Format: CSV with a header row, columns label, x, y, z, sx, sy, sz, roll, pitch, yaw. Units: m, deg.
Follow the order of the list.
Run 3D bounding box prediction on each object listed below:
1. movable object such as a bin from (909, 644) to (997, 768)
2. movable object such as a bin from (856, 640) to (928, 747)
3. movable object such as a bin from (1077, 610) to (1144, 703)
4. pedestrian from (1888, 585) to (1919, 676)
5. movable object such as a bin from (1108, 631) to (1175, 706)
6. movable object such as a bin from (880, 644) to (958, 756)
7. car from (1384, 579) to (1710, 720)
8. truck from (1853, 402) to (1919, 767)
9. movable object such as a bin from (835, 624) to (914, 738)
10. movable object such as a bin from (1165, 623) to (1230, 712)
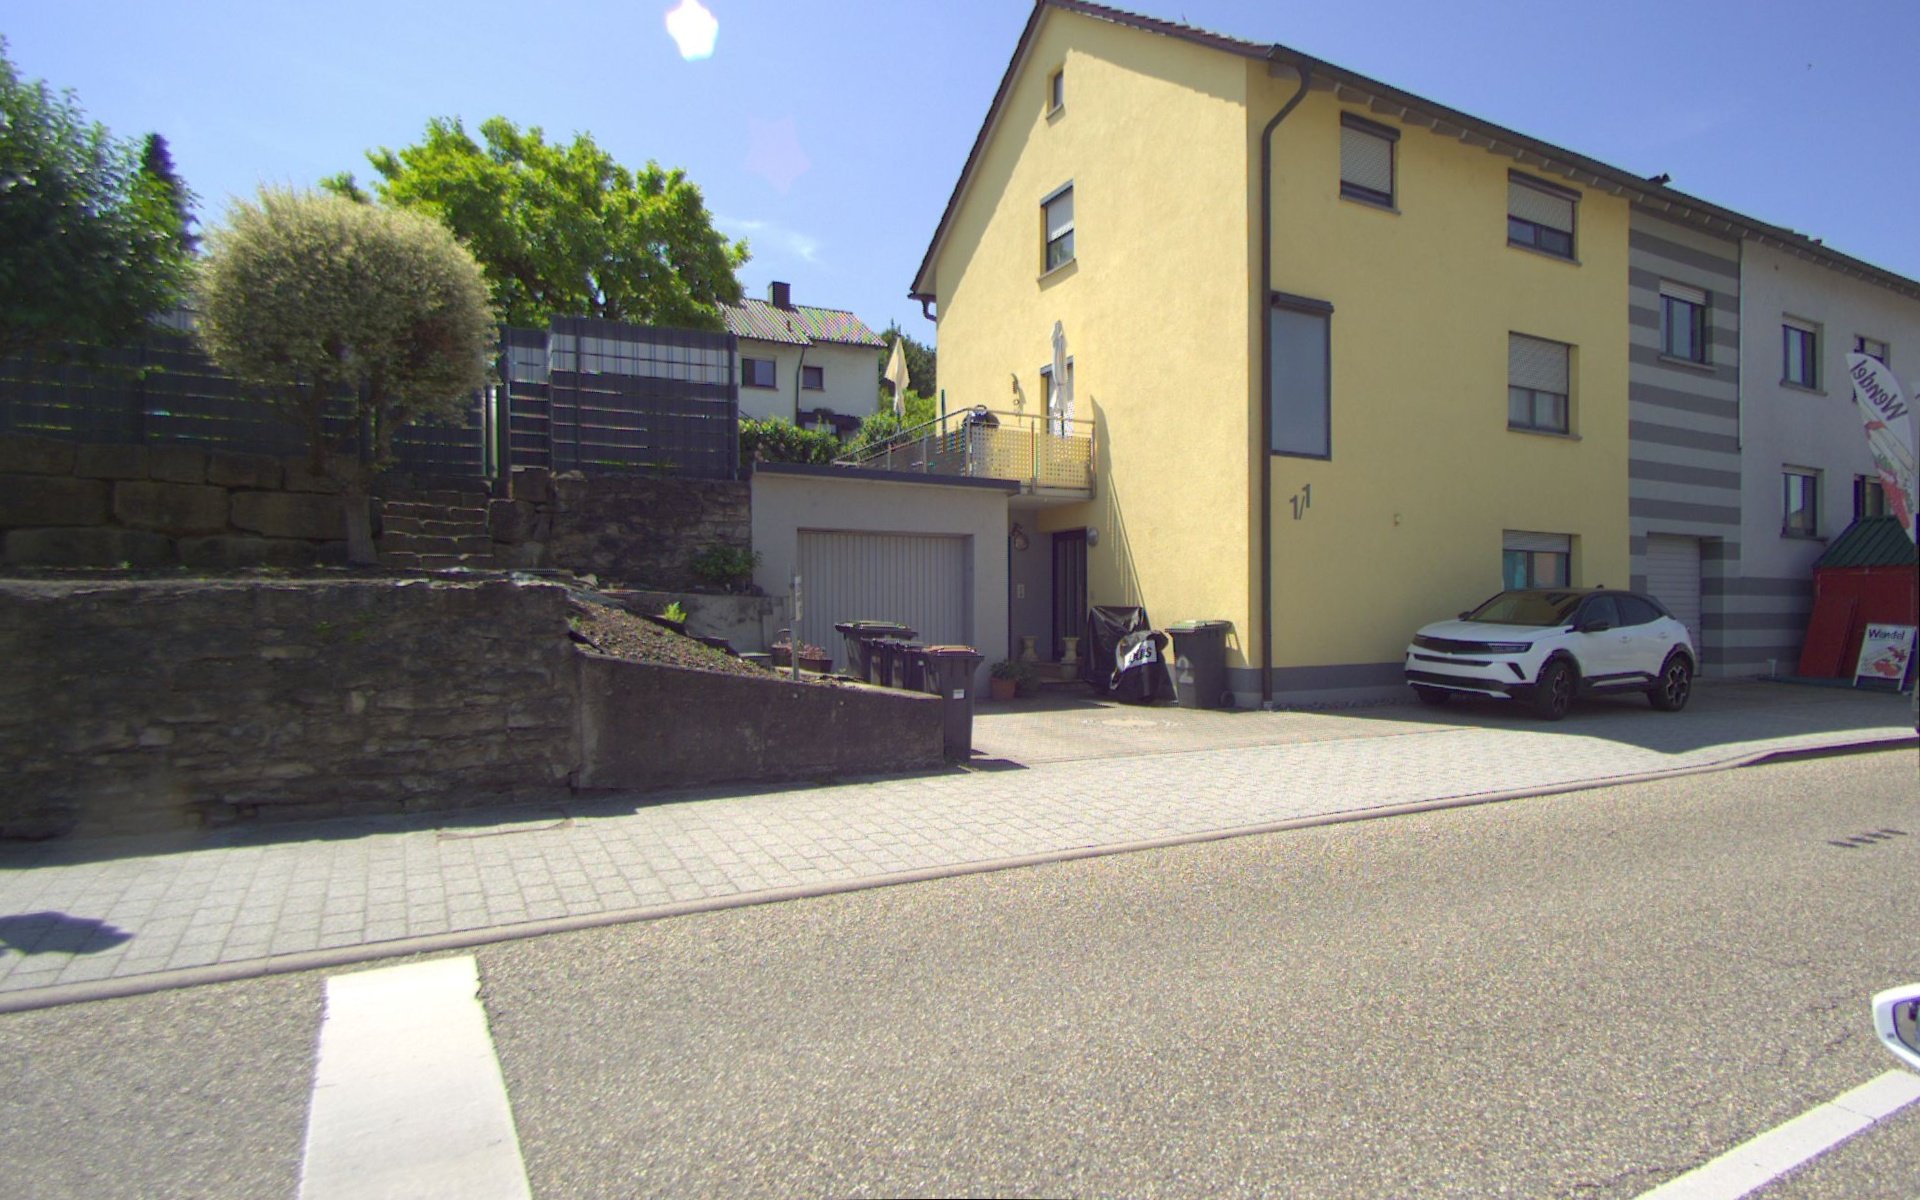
label,x,y,z,sx,sy,sz,roll,pitch,yaw
movable object such as a bin,-0.060,0.858,8.332,0.547,0.961,0.498,1,0,-29
movable object such as a bin,-0.637,0.860,9.399,0.524,0.950,0.445,1,0,-29
movable object such as a bin,2.016,0.742,13.465,0.686,1.212,0.549,1,0,-29
pedestrian,17.260,0.545,17.939,0.792,1.609,0.613,1,0,5
movable object such as a bin,2.322,0.864,12.863,0.600,0.922,0.595,1,-1,-29
movable object such as a bin,-0.368,0.876,8.964,0.555,0.941,0.445,1,0,-29
car,7.595,0.577,12.943,4.136,1.573,1.723,1,0,-28
truck,12.708,-0.065,10.154,7.509,3.413,2.460,1,2,-24
movable object such as a bin,-0.842,0.779,9.895,0.626,1.069,0.468,1,1,-29
movable object such as a bin,2.929,0.821,12.413,0.600,1.057,0.498,1,0,-29
